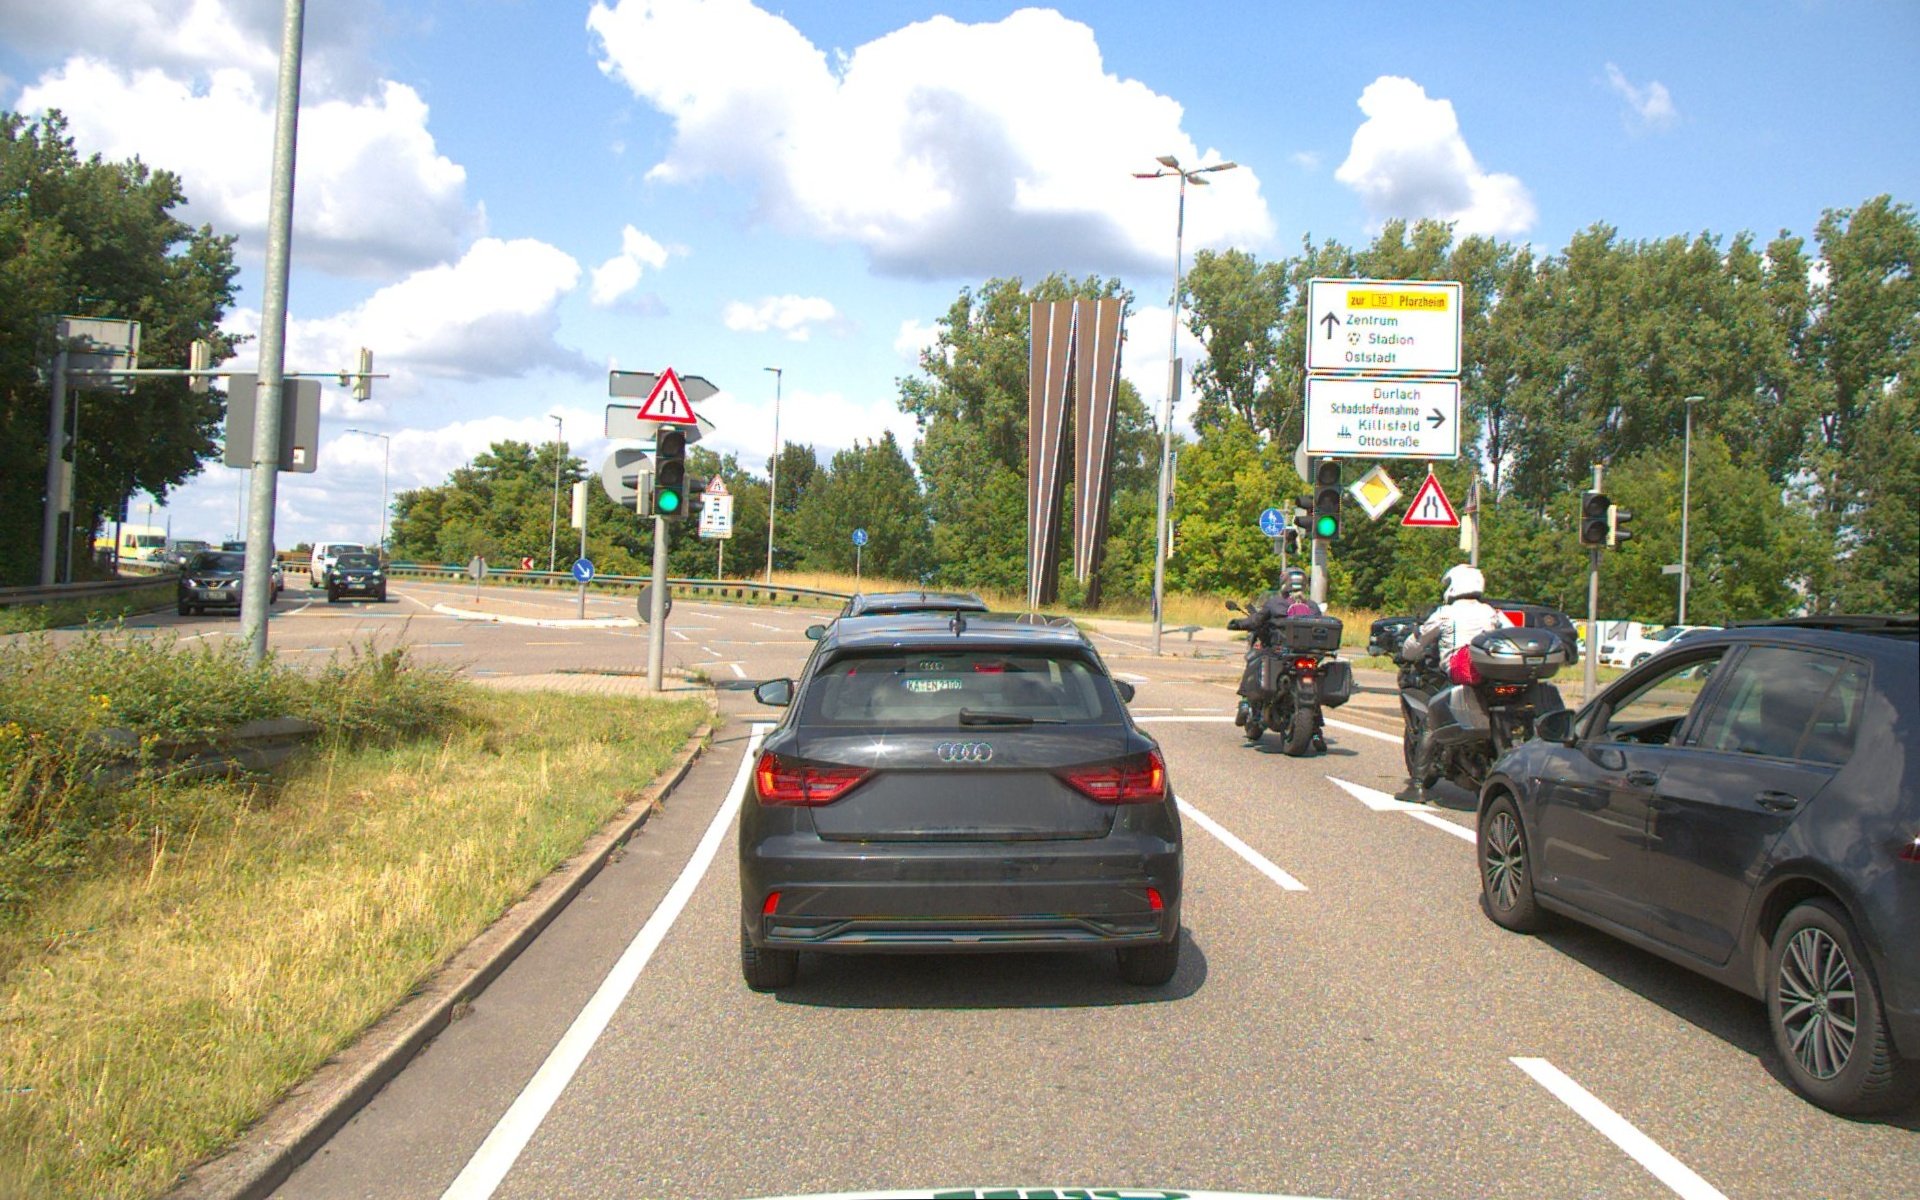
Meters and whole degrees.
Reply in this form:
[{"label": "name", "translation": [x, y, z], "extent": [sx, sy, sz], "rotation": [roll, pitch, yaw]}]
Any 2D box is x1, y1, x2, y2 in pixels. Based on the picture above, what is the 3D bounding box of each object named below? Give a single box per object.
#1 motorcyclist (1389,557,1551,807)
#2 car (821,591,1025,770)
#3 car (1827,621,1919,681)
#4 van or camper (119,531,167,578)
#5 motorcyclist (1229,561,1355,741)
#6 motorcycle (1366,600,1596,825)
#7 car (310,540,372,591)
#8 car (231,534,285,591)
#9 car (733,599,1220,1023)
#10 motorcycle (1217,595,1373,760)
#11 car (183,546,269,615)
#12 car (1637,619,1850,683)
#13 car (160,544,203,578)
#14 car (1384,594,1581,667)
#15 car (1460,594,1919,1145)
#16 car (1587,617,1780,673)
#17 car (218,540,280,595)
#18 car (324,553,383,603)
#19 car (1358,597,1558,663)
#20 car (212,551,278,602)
[{"label": "motorcyclist", "translation": [3.701, 0.572, 12.070], "extent": [0.848, 1.730, 0.894], "rotation": [2, 0, -1]}, {"label": "car", "translation": [-0.459, 0.647, 15.570], "extent": [1.692, 1.448, 3.841], "rotation": [0, 1, -5]}, {"label": "car", "translation": [26.026, 1.417, 44.845], "extent": [4.141, 1.502, 1.736], "rotation": [2, 0, -4]}, {"label": "van or camper", "translation": [-50.365, -2.785, 101.858], "extent": [1.974, 2.730, 6.788], "rotation": [2, 0, -32]}, {"label": "motorcyclist", "translation": [3.108, 0.462, 15.602], "extent": [0.918, 1.618, 1.083], "rotation": [2, 0, -1]}, {"label": "motorcycle", "translation": [3.699, 0.737, 11.998], "extent": [0.848, 1.413, 2.370], "rotation": [2, 1, -1]}, {"label": "car", "translation": [-26.212, -1.451, 69.998], "extent": [1.969, 2.049, 4.432], "rotation": [2, 0, -26]}, {"label": "car", "translation": [-28.215, -1.490, 66.412], "extent": [1.819, 2.137, 4.293], "rotation": [2, 0, -24]}, {"label": "car", "translation": [0.029, 0.729, 7.740], "extent": [1.691, 1.429, 3.999], "rotation": [0, 1, -1]}, {"label": "motorcycle", "translation": [3.105, 0.673, 15.591], "extent": [0.918, 1.407, 2.369], "rotation": [2, 0, -1]}, {"label": "car", "translation": [-18.953, -0.467, 42.842], "extent": [1.813, 1.646, 3.974], "rotation": [2, -1, -21]}, {"label": "car", "translation": [19.067, 1.228, 40.349], "extent": [4.384, 1.343, 1.735], "rotation": [2, 0, -4]}, {"label": "car", "translation": [-42.131, -2.084, 89.513], "extent": [1.823, 1.735, 4.286], "rotation": [2, 0, -29]}, {"label": "car", "translation": [12.605, 0.721, 40.072], "extent": [4.182, 1.572, 1.736], "rotation": [2, 0, -2]}, {"label": "car", "translation": [3.446, 0.763, 6.304], "extent": [1.696, 1.502, 4.045], "rotation": [2, 0, -2]}, {"label": "car", "translation": [19.337, 1.194, 44.288], "extent": [4.404, 1.304, 1.736], "rotation": [2, 0, -4]}, {"label": "car", "translation": [-25.371, -1.142, 59.111], "extent": [1.817, 1.833, 4.299], "rotation": [2, 0, -22]}, {"label": "car", "translation": [-19.803, -0.719, 54.099], "extent": [1.705, 1.522, 4.024], "rotation": [2, 0, -19]}, {"label": "car", "translation": [13.189, 0.780, 43.934], "extent": [4.750, 1.572, 1.736], "rotation": [2, 0, -2]}, {"label": "car", "translation": [-22.430, -0.746, 51.966], "extent": [1.707, 1.502, 4.021], "rotation": [2, 0, -22]}]
